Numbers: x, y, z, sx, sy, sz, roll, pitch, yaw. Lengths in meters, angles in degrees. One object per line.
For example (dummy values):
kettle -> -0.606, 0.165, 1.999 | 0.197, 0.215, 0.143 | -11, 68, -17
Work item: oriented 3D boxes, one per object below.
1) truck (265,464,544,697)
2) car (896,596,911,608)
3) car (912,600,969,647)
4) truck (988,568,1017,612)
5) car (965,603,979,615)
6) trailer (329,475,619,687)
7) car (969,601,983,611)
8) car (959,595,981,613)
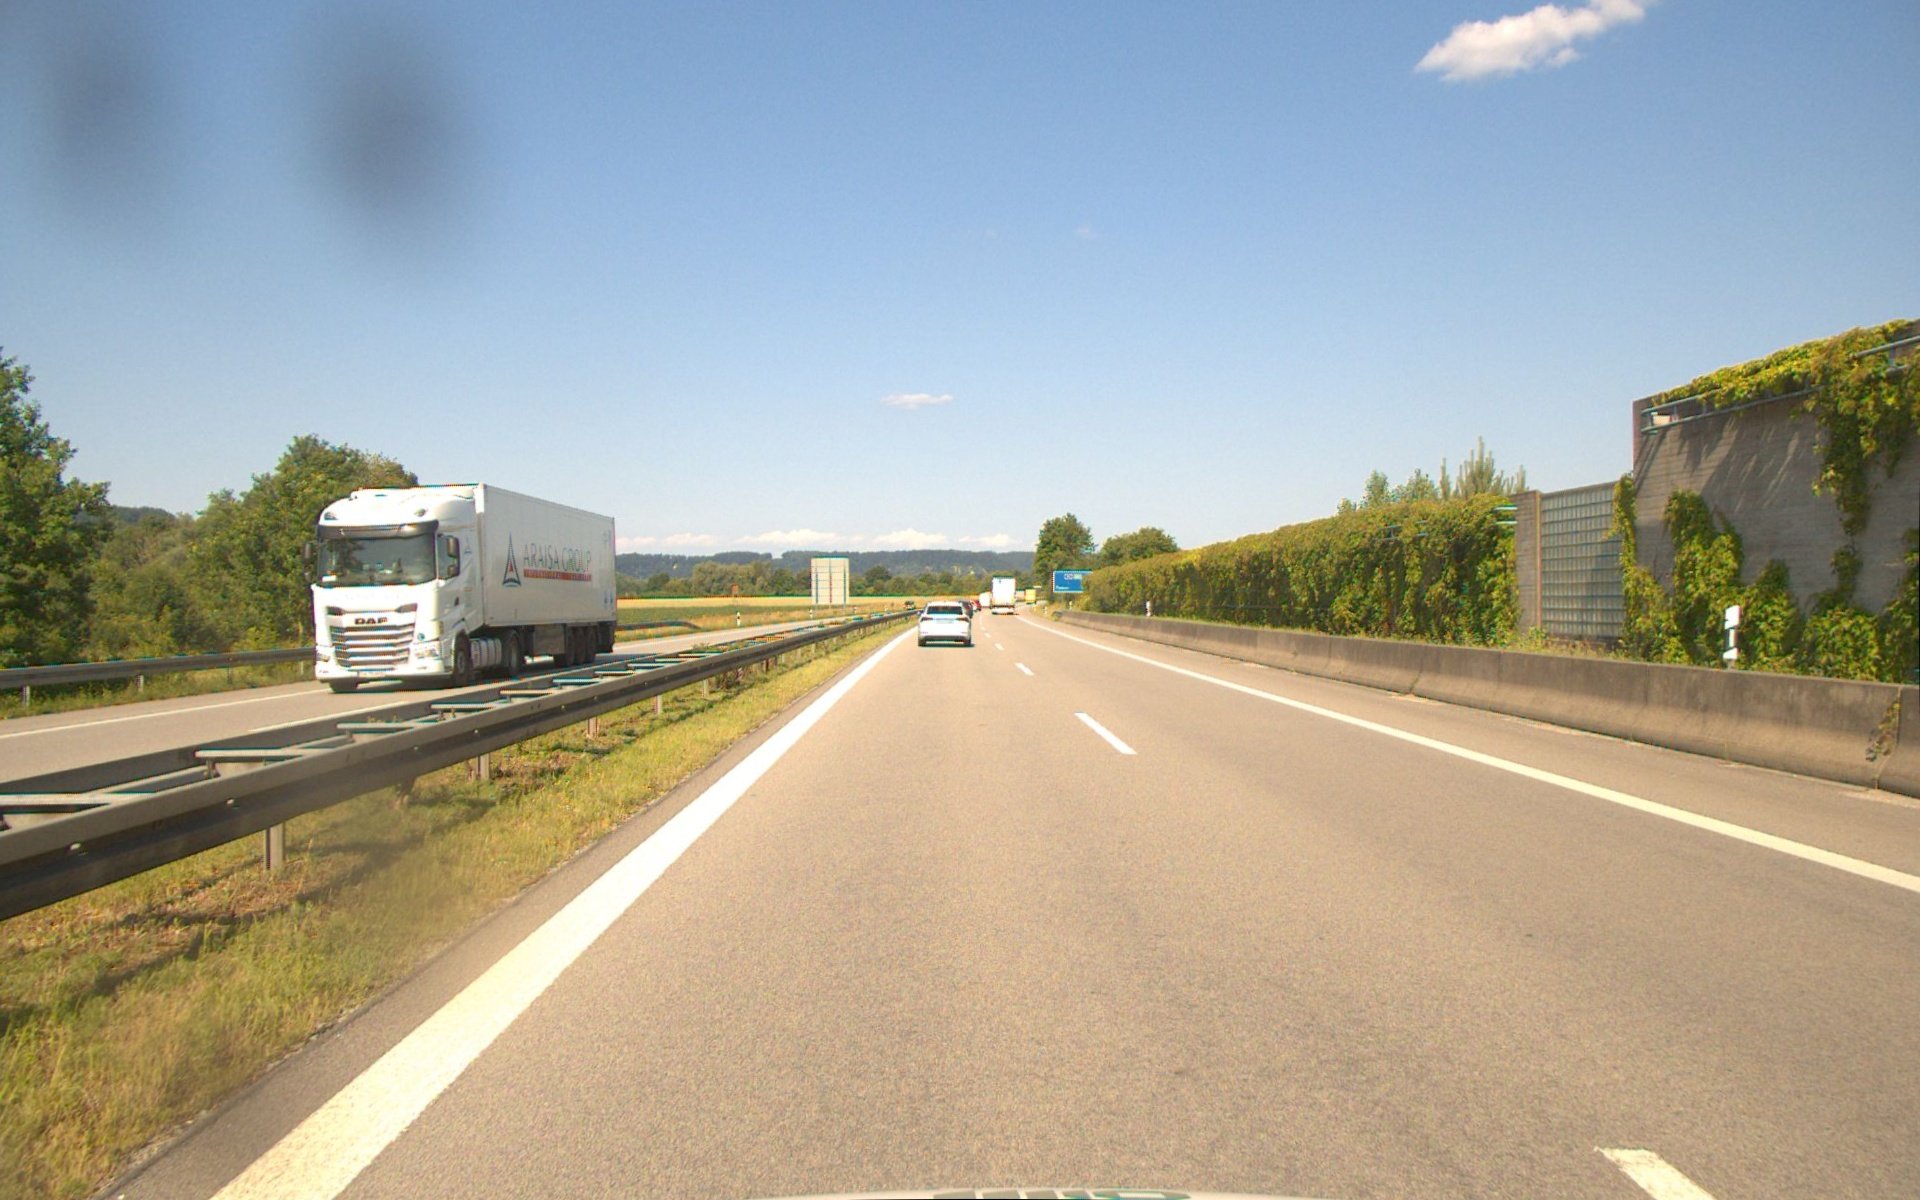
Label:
truck -> -11.283, -0.396, 34.568 | 3.092, 4.172, 7.734 | -3, 0, -1
car -> -8.800, 0.351, 258.292 | 1.953, 1.690, 4.776 | -3, 1, 1
car -> -0.634, 0.741, 55.656 | 1.802, 1.446, 5.254 | 0, 1, 0
truck -> 4.778, -1.115, 184.293 | 3.087, 4.693, 8.907 | -1, 0, 2
car -> 1.543, 1.165, 215.585 | 1.734, 1.446, 4.366 | 0, 0, 2
trailer -> -11.362, -0.443, 40.650 | 3.087, 4.196, 13.440 | -3, 0, -1
car -> 2.269, 0.842, 234.099 | 1.734, 1.446, 4.366 | 0, 0, 3
car -> 0.864, 0.312, 141.227 | 1.734, 1.446, 4.497 | 0, 0, 2
